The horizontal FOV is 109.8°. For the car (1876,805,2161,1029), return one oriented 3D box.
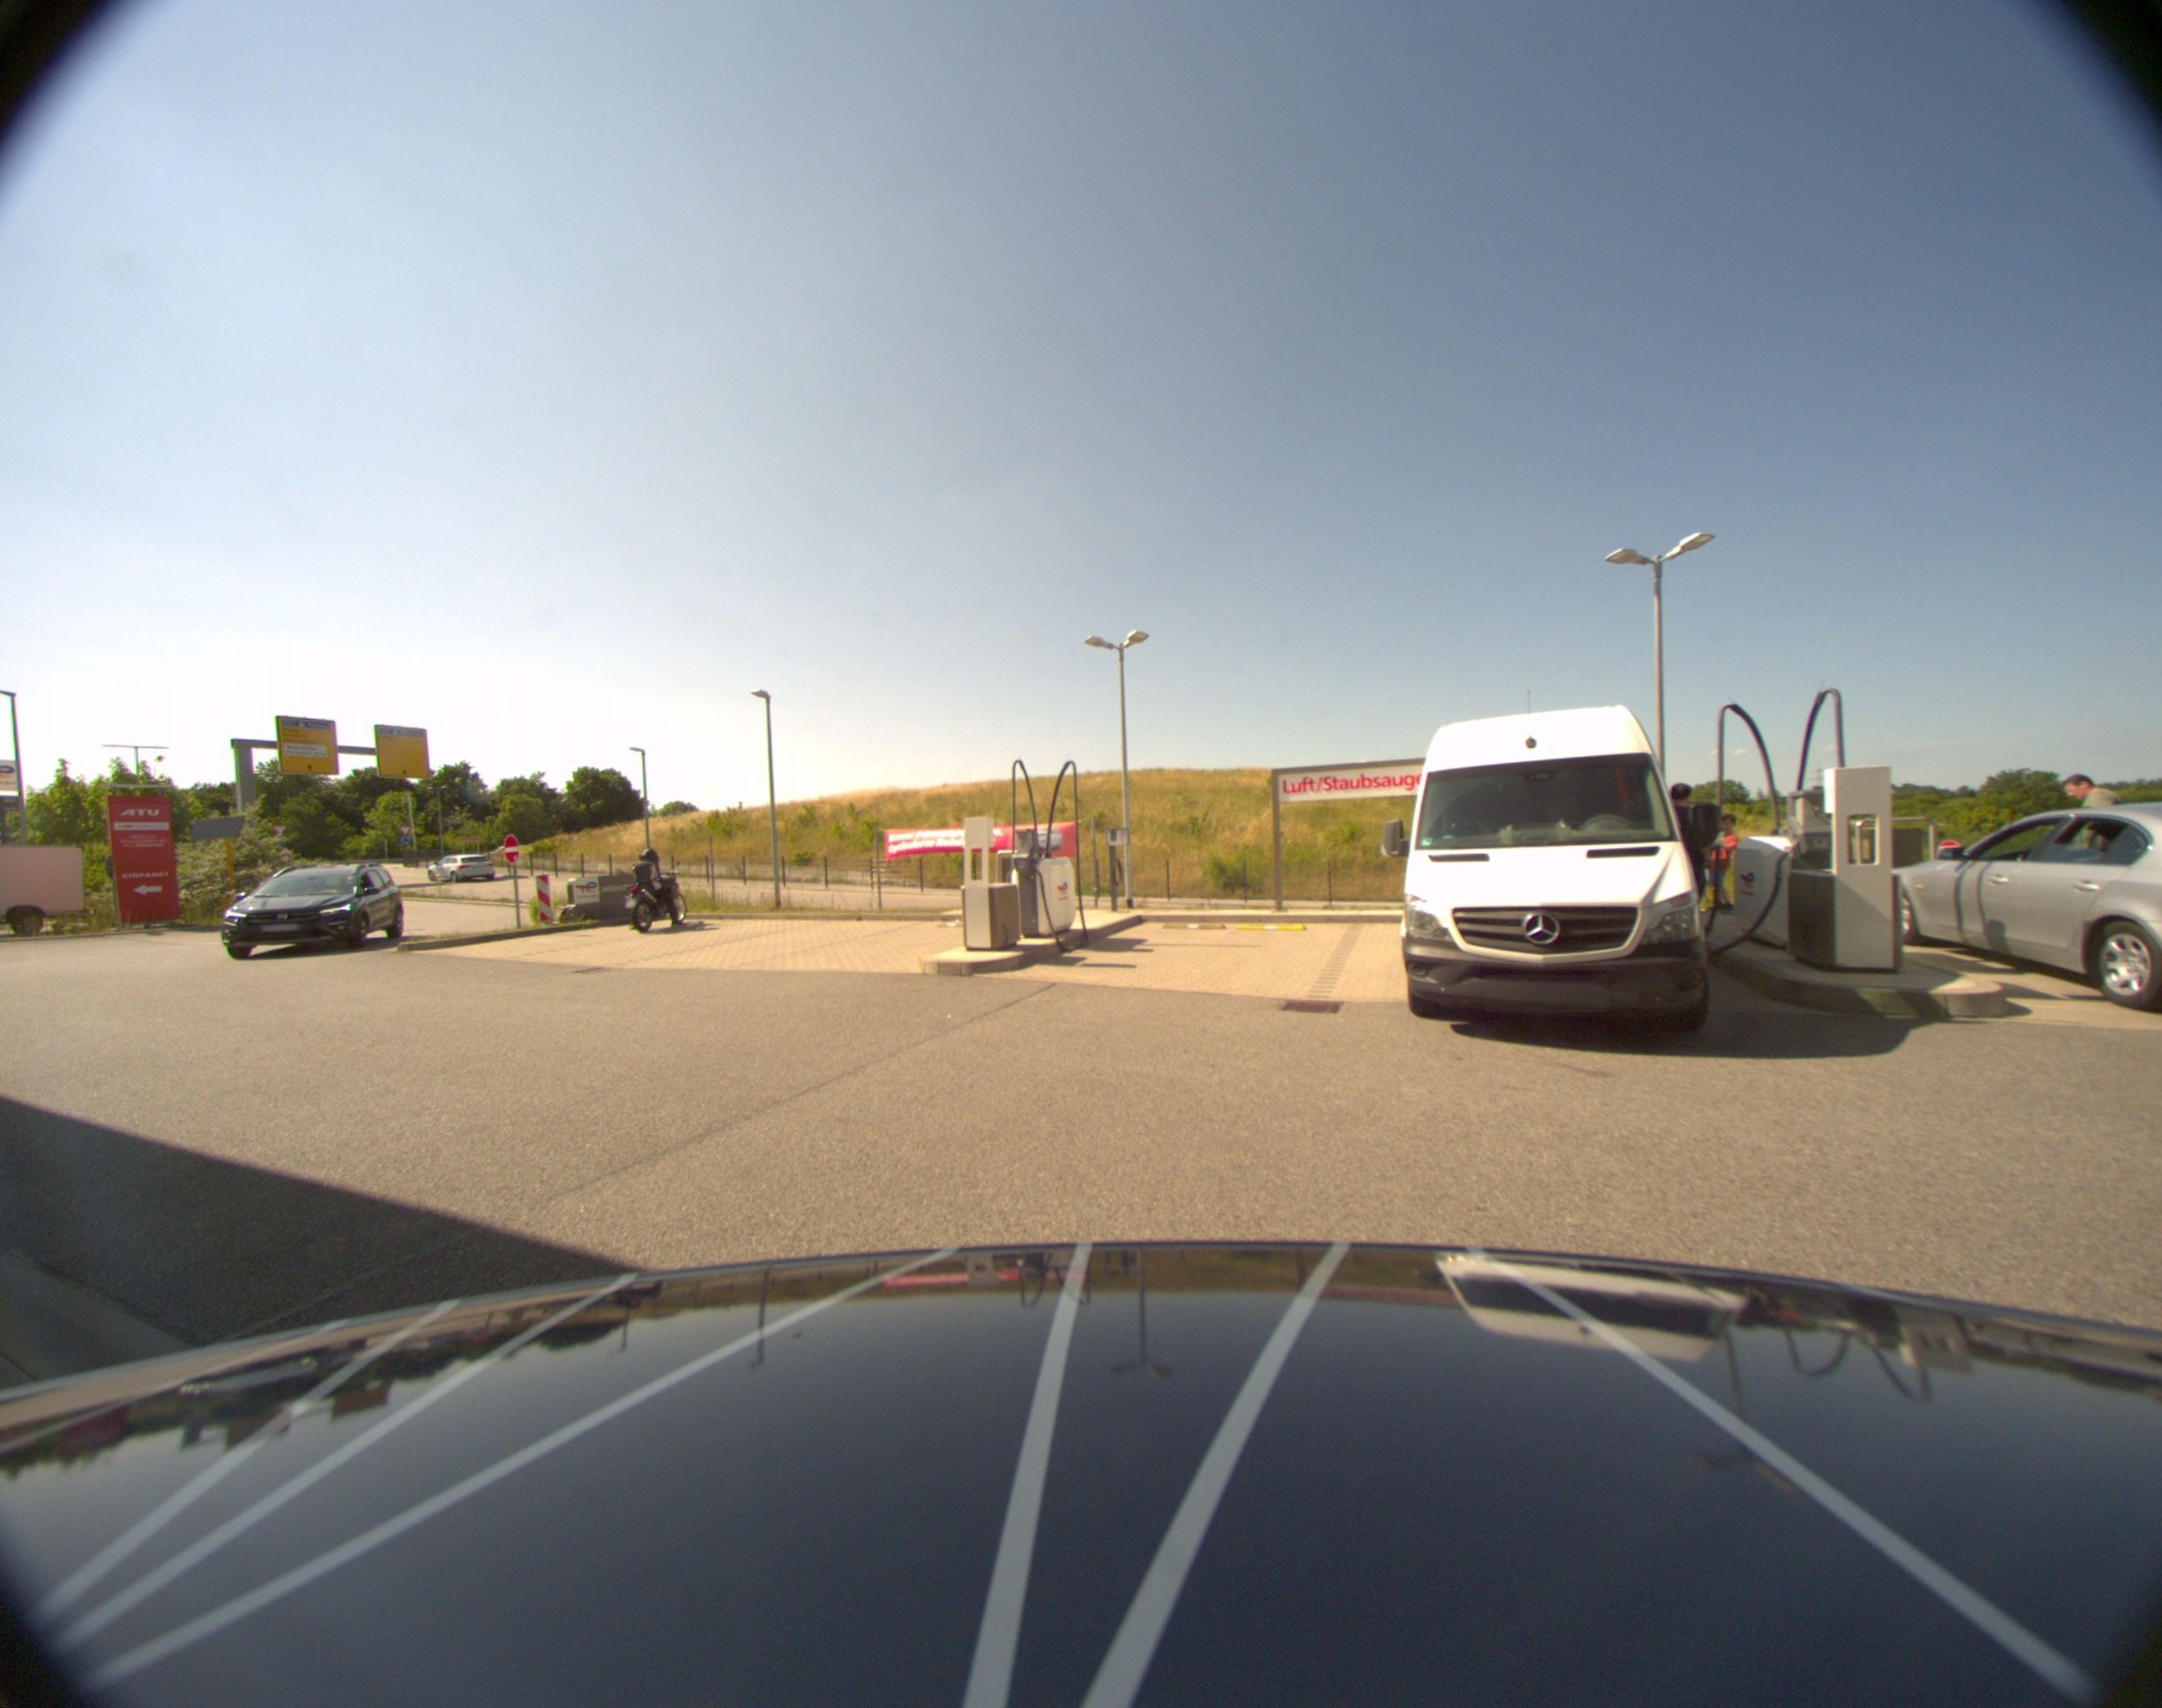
[{"bbox_3d":[8.649,0.365,6.029,1.789,1.420,4.327,-2,2,25],"label":"car"}]

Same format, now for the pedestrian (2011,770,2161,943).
[{"bbox_3d":[10.723,0.026,8.070,0.843,1.739,0.710,-2,2,23],"label":"pedestrian"}]

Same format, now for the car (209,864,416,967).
[{"bbox_3d":[-15.207,1.076,15.370,1.746,1.635,4.621,-3,1,-30],"label":"car"}]

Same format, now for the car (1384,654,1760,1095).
[{"bbox_3d":[4.818,-0.095,7.910,1.995,2.557,7.040,-1,4,30],"label":"car"}]

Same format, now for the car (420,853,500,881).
[{"bbox_3d":[-33.480,0.660,40.942,4.084,1.416,1.710,0,2,26],"label":"car"}]

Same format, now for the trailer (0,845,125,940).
[{"bbox_3d":[-28.812,0.999,20.245,2.001,2.413,3.994,-2,1,-13],"label":"trailer"}]

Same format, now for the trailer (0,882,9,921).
[{"bbox_3d":[-36.405,1.633,23.346,1.577,1.273,3.718,-2,1,0],"label":"trailer"}]

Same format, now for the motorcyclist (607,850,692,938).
[{"bbox_3d":[-8.811,0.794,15.577,1.034,1.679,1.098,-2,2,-1],"label":"motorcyclist"}]

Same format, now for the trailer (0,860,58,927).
[{"bbox_3d":[-33.833,1.263,22.400,1.801,2.002,3.999,-2,1,0],"label":"trailer"}]

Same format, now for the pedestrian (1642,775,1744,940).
[{"bbox_3d":[6.945,0.029,8.617,0.846,1.760,0.707,-3,2,-38],"label":"pedestrian"}]

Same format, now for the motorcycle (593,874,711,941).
[{"bbox_3d":[-8.799,1.050,15.754,1.045,1.100,2.415,-2,2,0],"label":"motorcycle"}]

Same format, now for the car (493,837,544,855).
[{"bbox_3d":[-68.293,-0.981,92.296,1.994,2.002,4.537,-1,2,40],"label":"car"}]
